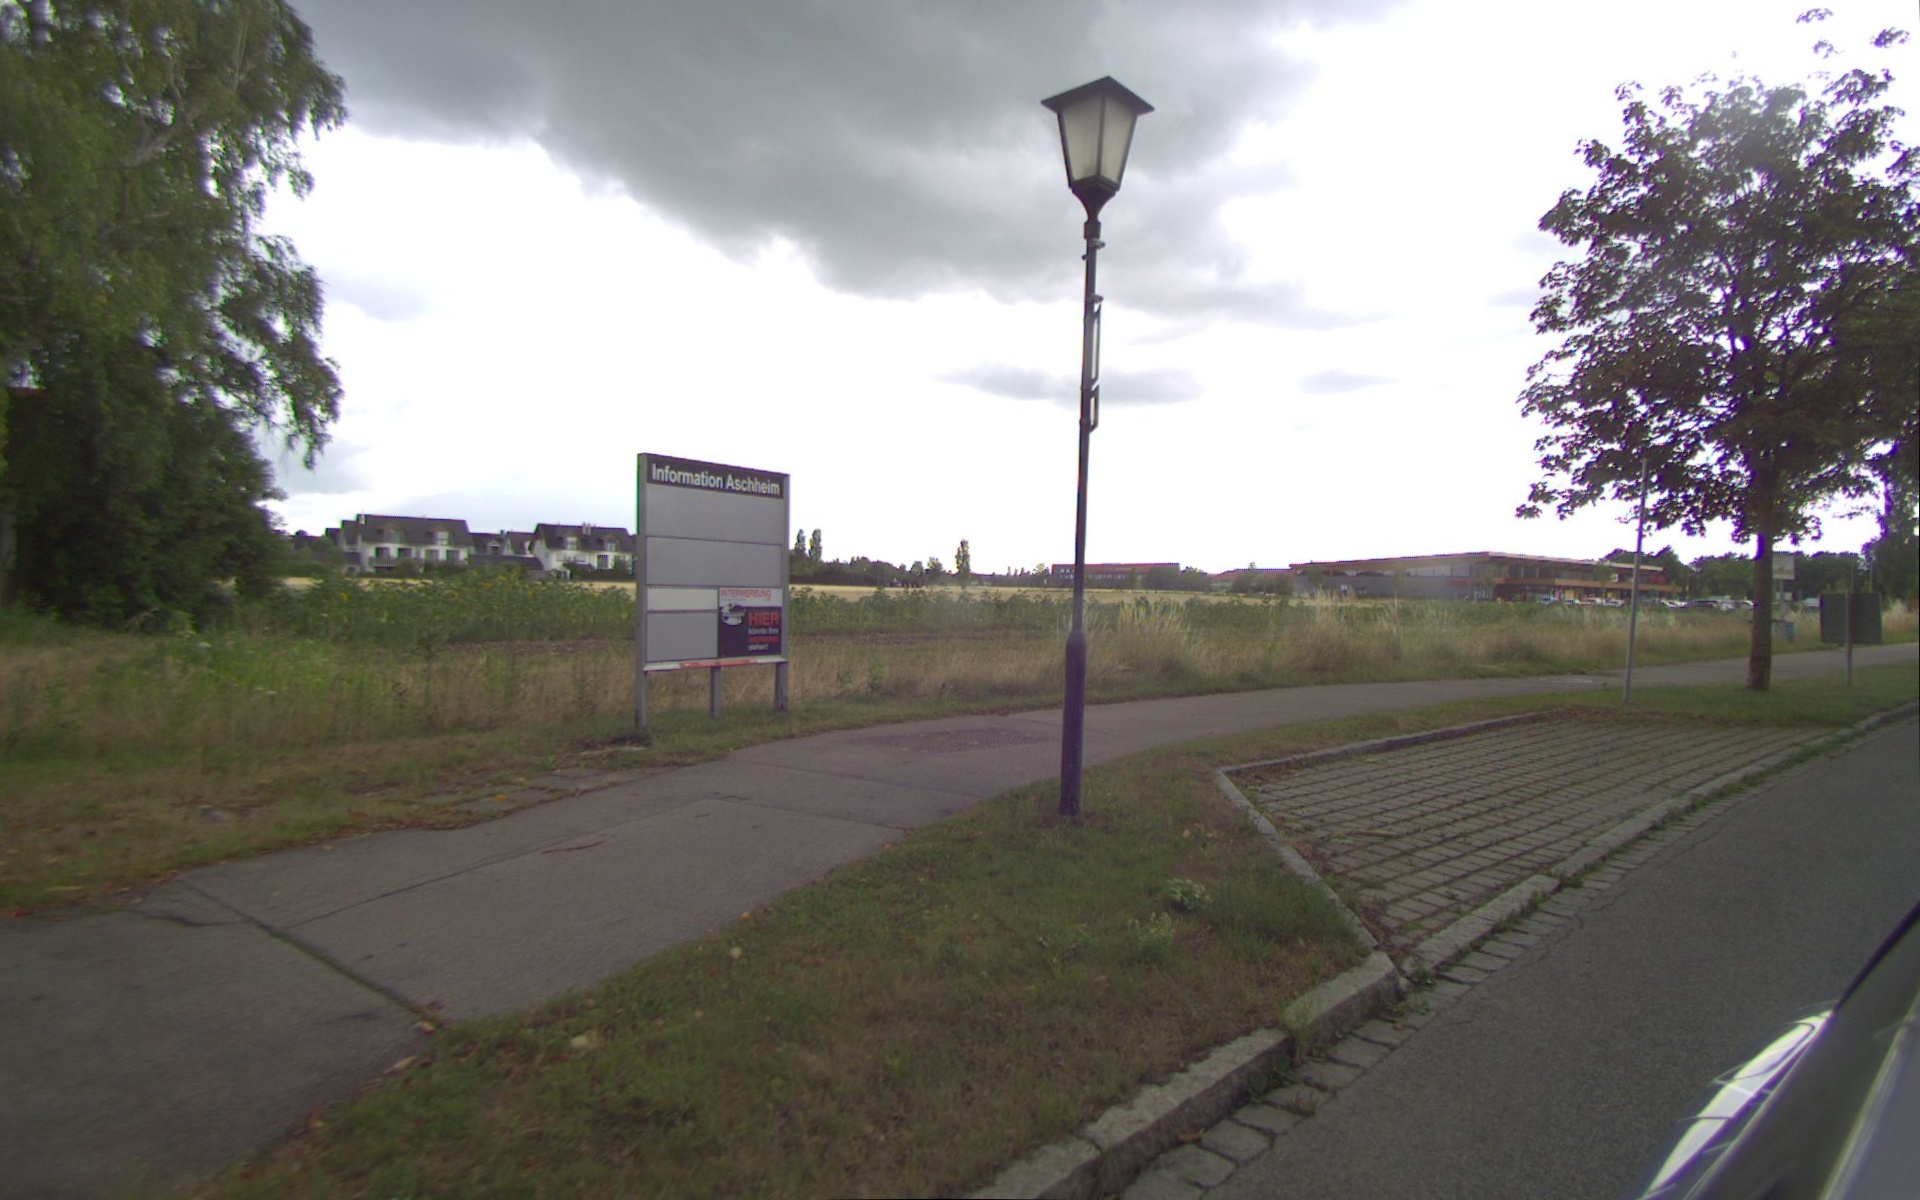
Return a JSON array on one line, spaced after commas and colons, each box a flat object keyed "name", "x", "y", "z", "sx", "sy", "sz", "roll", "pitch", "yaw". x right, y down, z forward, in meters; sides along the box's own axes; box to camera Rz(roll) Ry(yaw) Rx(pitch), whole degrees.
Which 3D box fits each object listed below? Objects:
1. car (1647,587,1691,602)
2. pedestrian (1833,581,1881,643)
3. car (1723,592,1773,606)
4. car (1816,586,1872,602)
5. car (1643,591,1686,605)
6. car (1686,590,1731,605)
[{"name": "car", "x": 100.184, "y": -0.819, "z": 143.078, "sx": 1.967, "sy": 2.039, "sz": 4.845, "roll": 0, "pitch": 0, "yaw": -44}, {"name": "pedestrian", "x": 25.894, "y": 0.336, "z": 29.217, "sx": 0.852, "sy": 1.777, "sz": 0.841, "roll": 0, "pitch": 0, "yaw": -32}, {"name": "car", "x": 117.022, "y": -0.173, "z": 150.340, "sx": 1.966, "sy": 2.039, "sz": 5.516, "roll": 0, "pitch": 0, "yaw": -43}, {"name": "car", "x": 120.483, "y": -0.828, "z": 137.969, "sx": 1.966, "sy": 2.039, "sz": 5.516, "roll": 0, "pitch": 0, "yaw": -43}, {"name": "car", "x": 103.717, "y": -0.261, "z": 148.990, "sx": 1.967, "sy": 2.039, "sz": 4.845, "roll": 0, "pitch": 0, "yaw": -44}, {"name": "car", "x": 104.928, "y": -0.290, "z": 141.892, "sx": 1.967, "sy": 2.039, "sz": 4.845, "roll": 0, "pitch": 0, "yaw": -44}]
